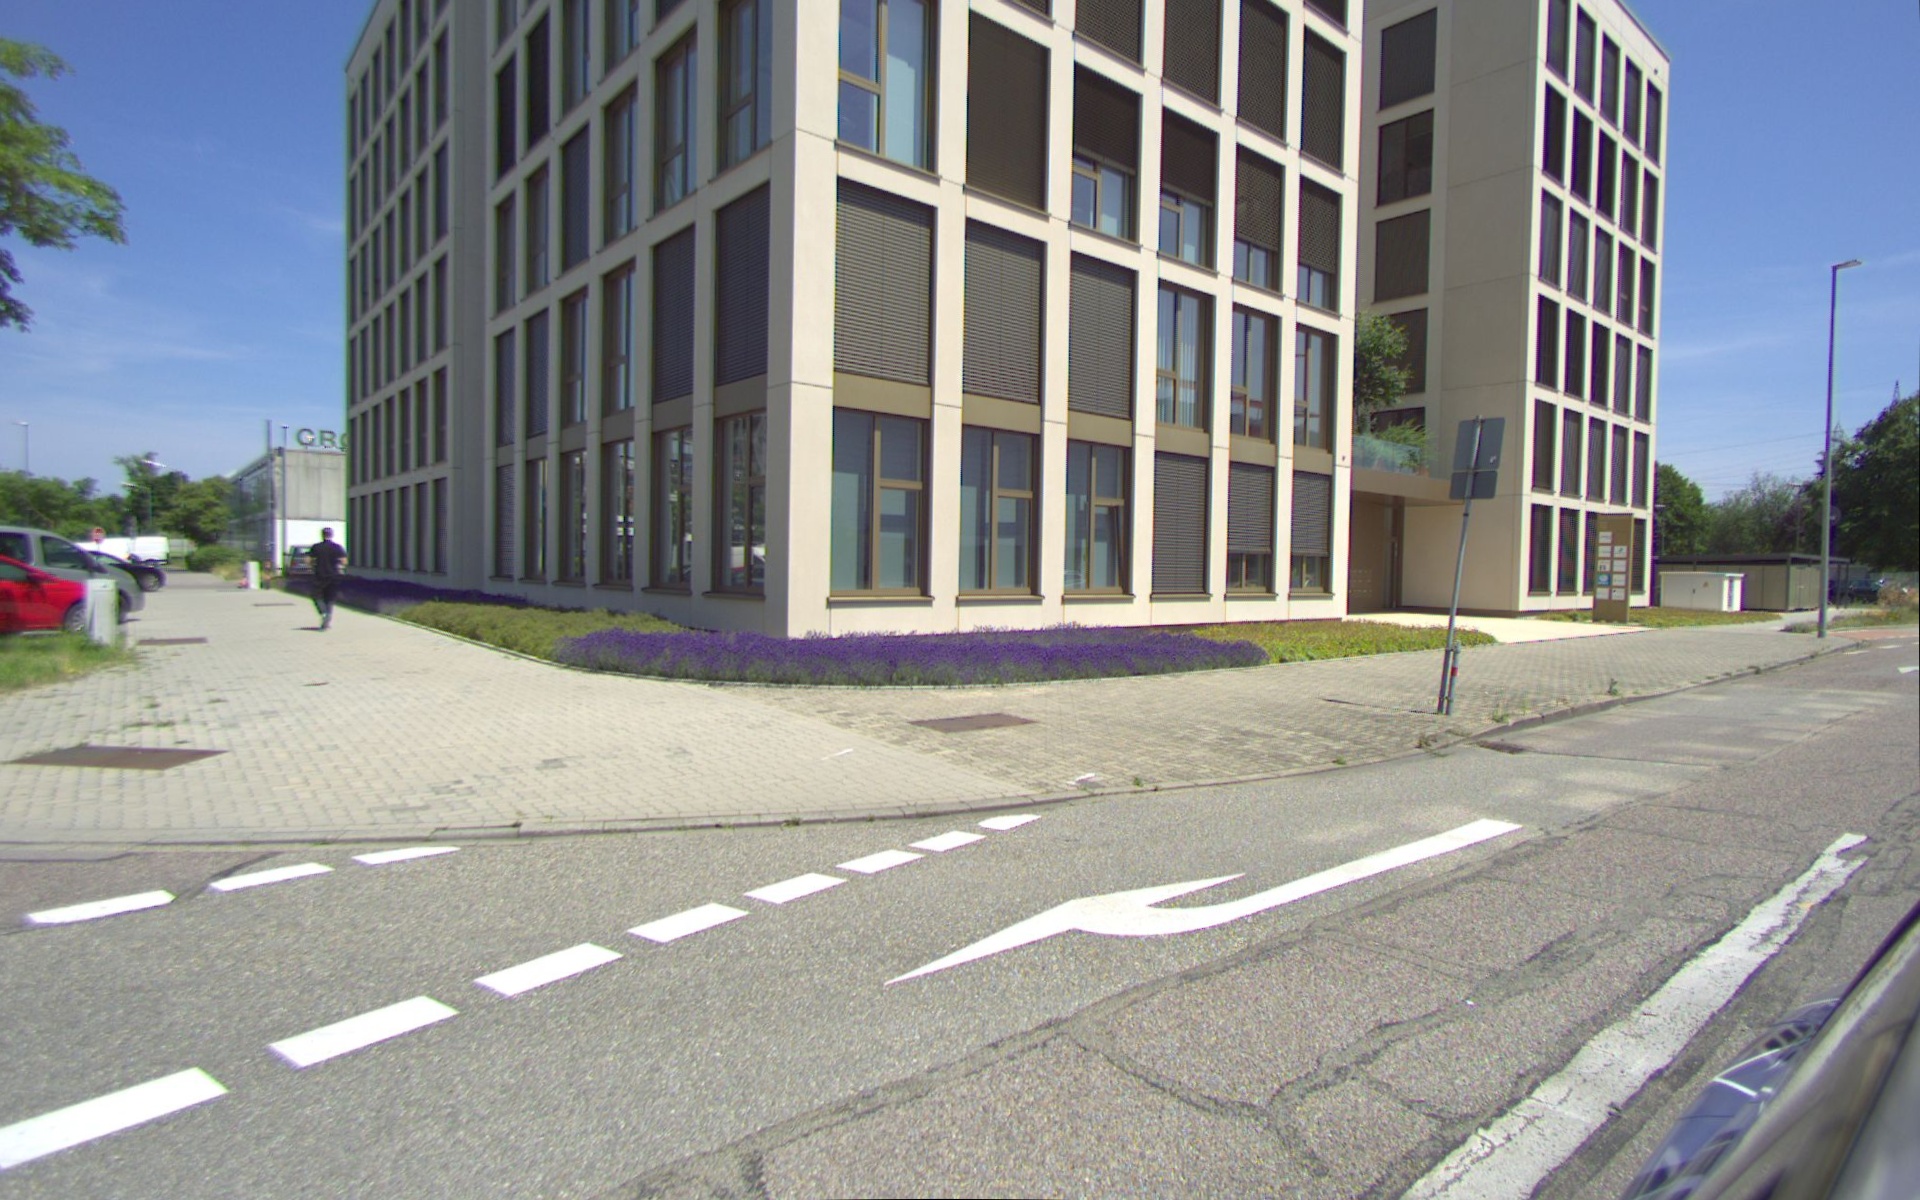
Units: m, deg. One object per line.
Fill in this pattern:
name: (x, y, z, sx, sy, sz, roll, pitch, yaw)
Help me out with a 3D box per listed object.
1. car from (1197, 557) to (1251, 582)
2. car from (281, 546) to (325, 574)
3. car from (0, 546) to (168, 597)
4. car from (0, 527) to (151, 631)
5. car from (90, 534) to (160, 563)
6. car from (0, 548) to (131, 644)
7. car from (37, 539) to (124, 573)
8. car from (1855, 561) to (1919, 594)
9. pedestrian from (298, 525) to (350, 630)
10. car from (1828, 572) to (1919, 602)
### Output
car: (21.052, -2.441, 80.688, 3.921, 1.874, 2.002, 0, 3, -31)
car: (-37.884, -2.306, 58.306, 1.758, 1.540, 3.574, -1, 3, -39)
car: (-29.032, -0.979, 33.468, 1.792, 1.557, 4.131, 0, 3, 19)
car: (-17.725, -0.407, 18.437, 1.676, 1.838, 4.899, 1, 2, 7)
car: (-67.479, -4.150, 81.858, 4.280, 2.146, 2.094, 0, 2, -37)
car: (-15.326, -0.080, 15.533, 1.584, 1.452, 3.991, 1, 2, 9)
car: (-54.964, -2.735, 63.348, 3.925, 2.038, 2.000, 0, 2, -36)
car: (59.209, -1.395, 63.566, 3.958, 1.977, 1.984, 2, 2, 25)
pedestrian: (-11.591, -0.424, 18.454, 0.758, 1.867, 0.869, -1, 3, -32)
car: (55.709, -0.813, 61.586, 3.960, 1.682, 1.822, 2, 3, 26)
